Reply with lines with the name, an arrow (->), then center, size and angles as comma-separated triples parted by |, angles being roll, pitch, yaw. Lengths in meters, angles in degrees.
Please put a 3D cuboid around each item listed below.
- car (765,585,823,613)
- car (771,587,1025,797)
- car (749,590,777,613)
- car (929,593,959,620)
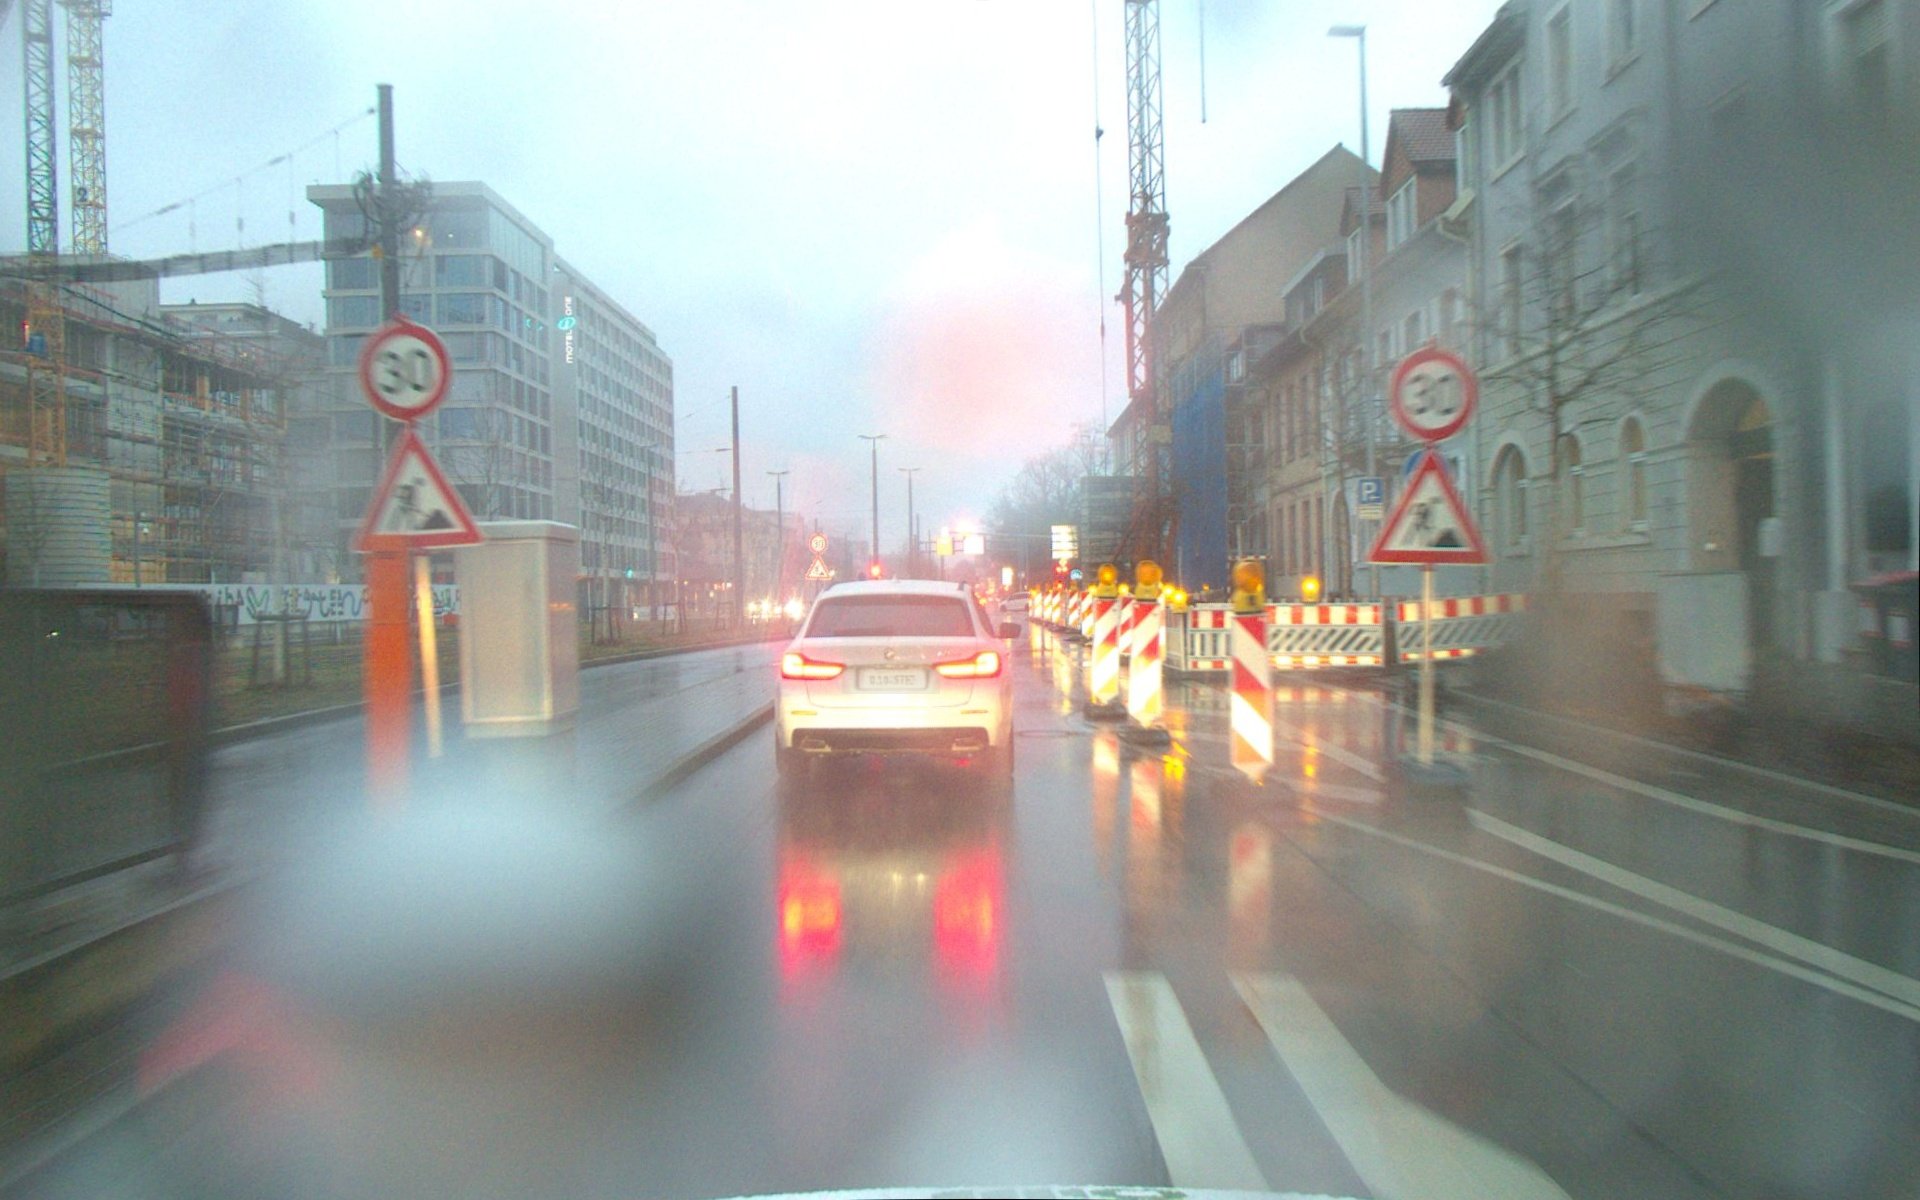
car -> -12.222, -0.081, 121.776 | 3.925, 2.010, 1.990 | 0, 0, -18
car -> -0.445, 0.655, 14.339 | 1.814, 1.491, 4.946 | 0, 0, 0
car -> -18.212, 0.169, 153.003 | 1.952, 2.049, 4.538 | -1, 0, 0
car -> -0.997, 0.415, 104.698 | 1.862, 1.670, 4.000 | 0, 0, 1
